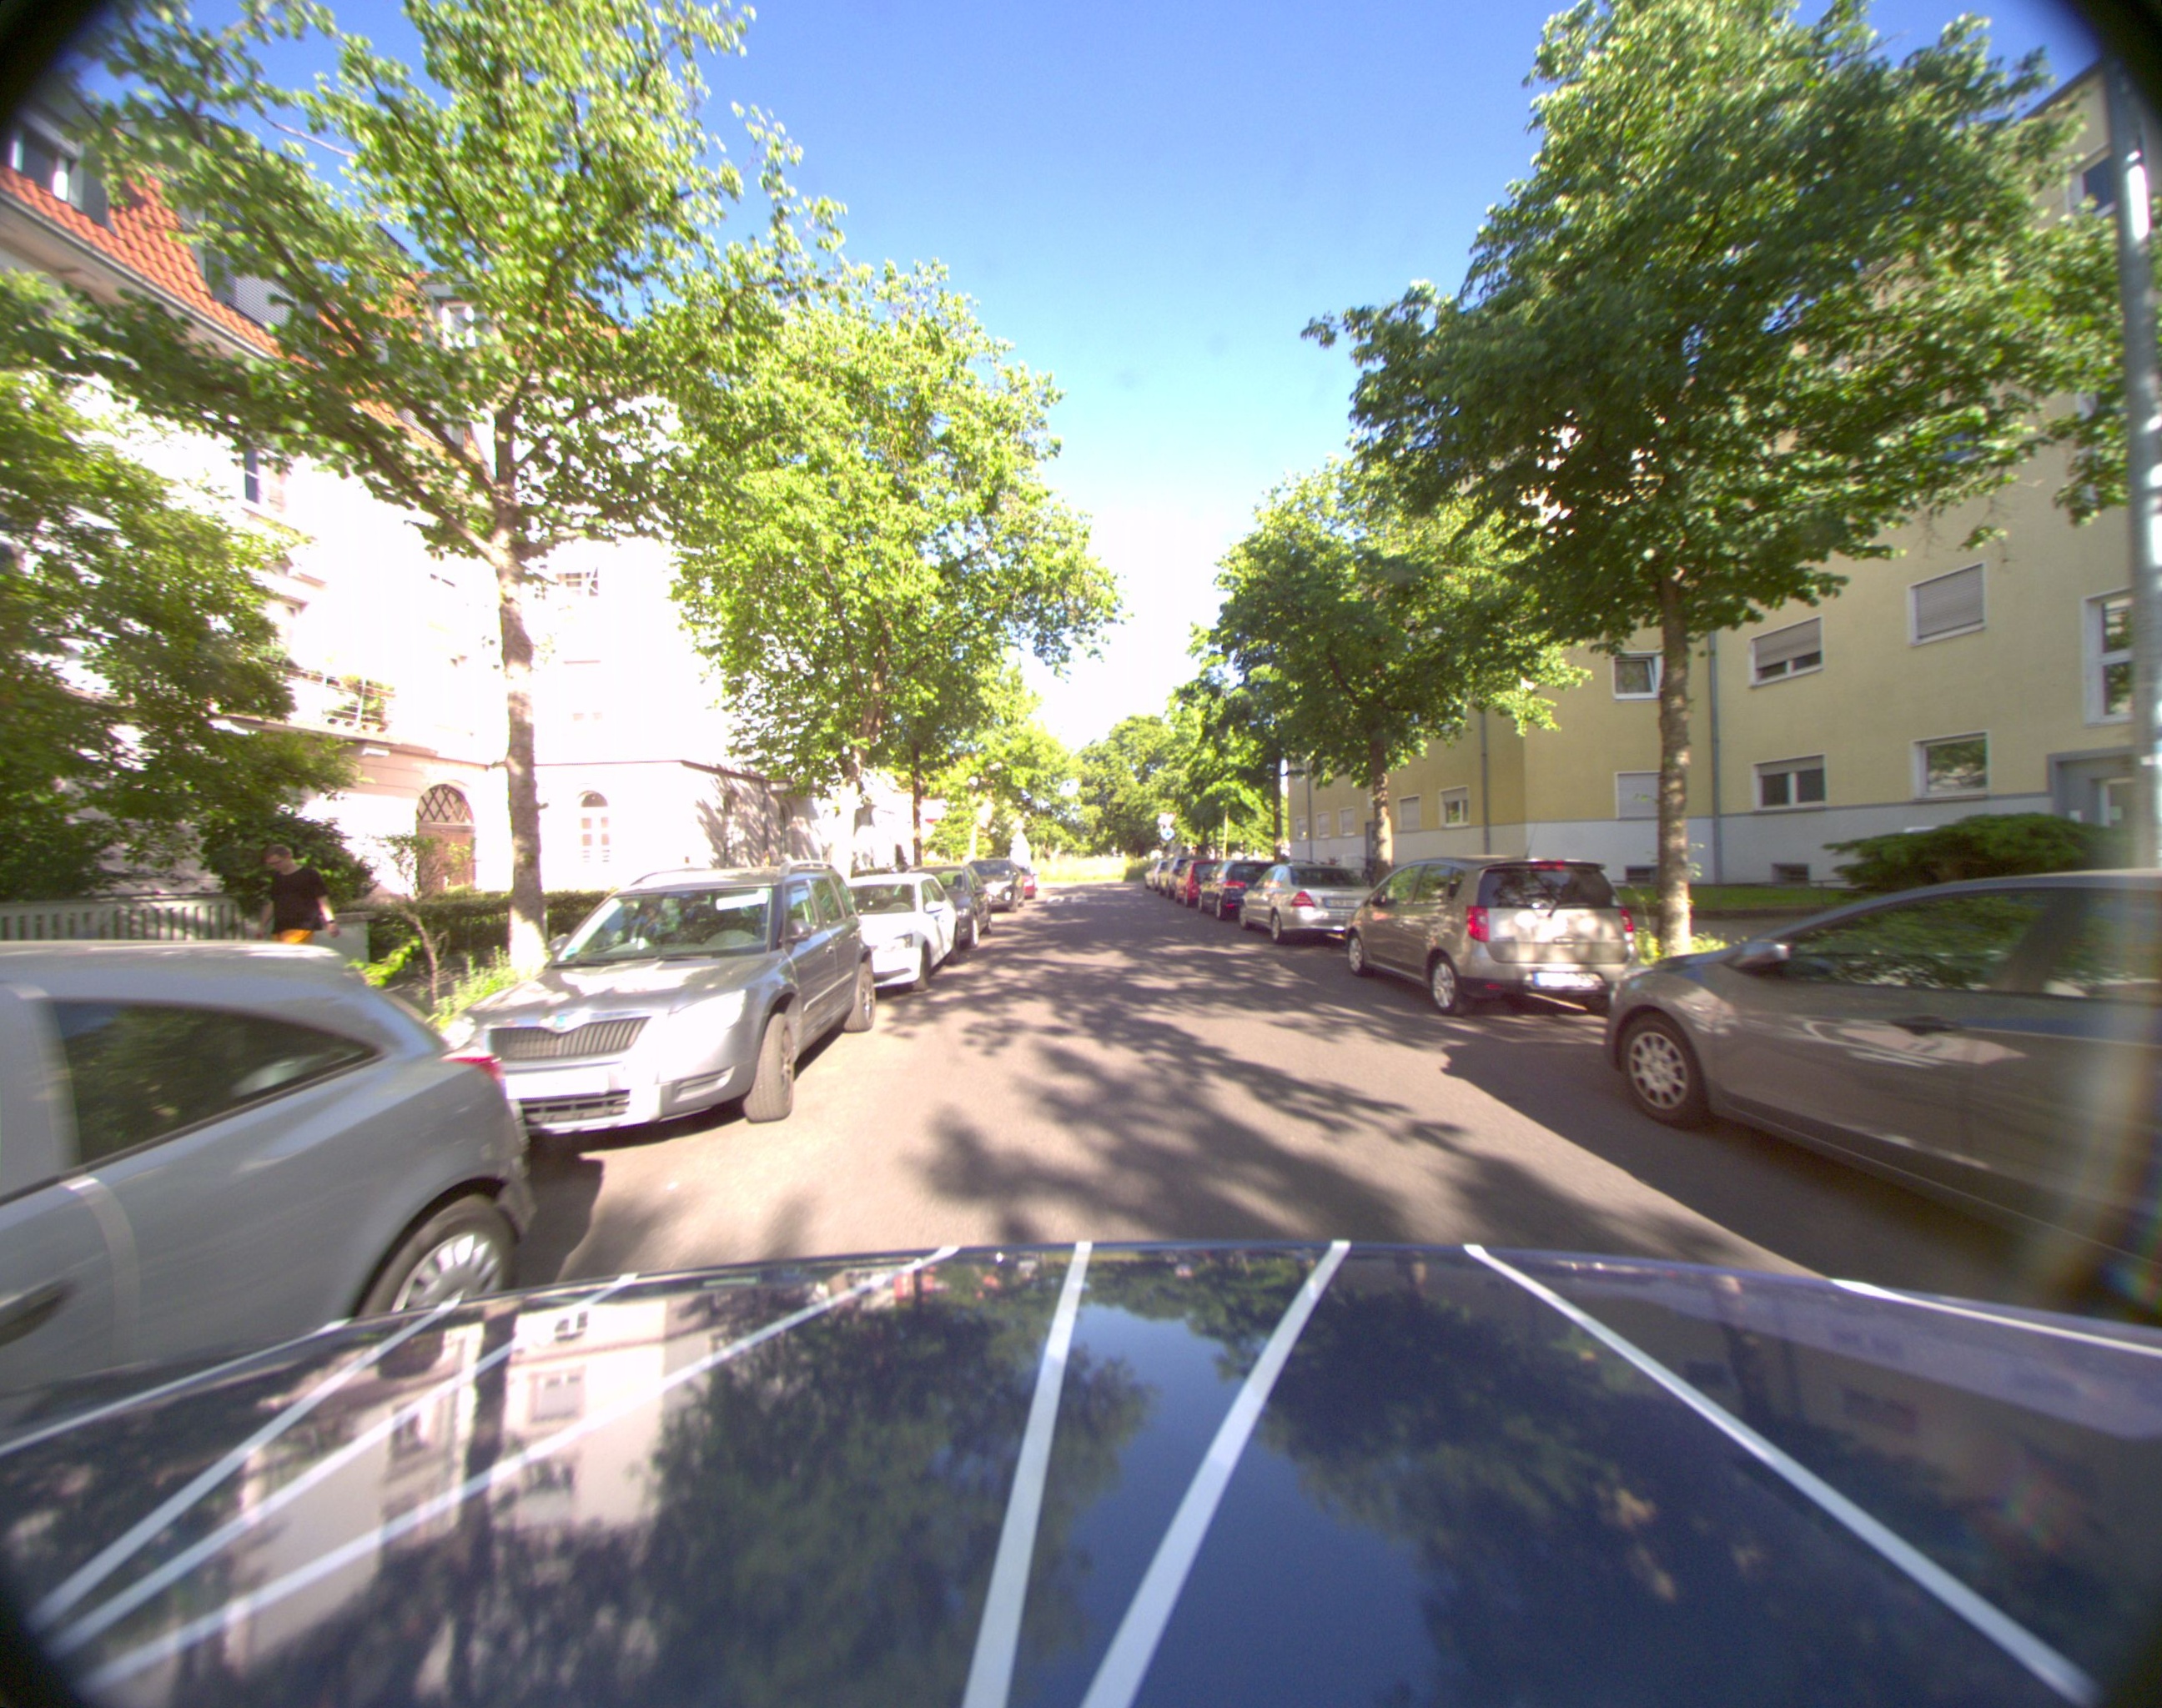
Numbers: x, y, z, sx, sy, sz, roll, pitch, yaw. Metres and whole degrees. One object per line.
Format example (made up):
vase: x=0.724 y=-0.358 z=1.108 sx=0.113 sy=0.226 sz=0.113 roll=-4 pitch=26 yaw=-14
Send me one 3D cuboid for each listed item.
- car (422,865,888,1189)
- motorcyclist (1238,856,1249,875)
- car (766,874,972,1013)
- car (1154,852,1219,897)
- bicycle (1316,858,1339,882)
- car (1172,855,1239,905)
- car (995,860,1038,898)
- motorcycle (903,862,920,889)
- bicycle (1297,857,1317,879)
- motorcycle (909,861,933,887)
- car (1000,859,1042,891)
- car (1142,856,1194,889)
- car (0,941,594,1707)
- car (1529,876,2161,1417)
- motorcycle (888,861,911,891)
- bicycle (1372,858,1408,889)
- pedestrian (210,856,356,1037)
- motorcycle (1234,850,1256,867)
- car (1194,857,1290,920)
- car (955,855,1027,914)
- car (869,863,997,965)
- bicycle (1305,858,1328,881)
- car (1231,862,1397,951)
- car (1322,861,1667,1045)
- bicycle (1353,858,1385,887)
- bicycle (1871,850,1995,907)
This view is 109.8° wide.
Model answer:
car: x=-2.805 y=0.969 z=6.081 sx=1.653 sy=1.646 sz=3.846 roll=-2 pitch=0 yaw=-3
motorcyclist: x=11.731 y=0.812 z=54.708 sx=0.521 sy=1.394 sz=0.553 roll=0 pitch=1 yaw=-40
car: x=-2.693 y=1.060 z=10.726 sx=1.634 sy=1.416 sz=4.368 roll=-1 pitch=0 yaw=0
car: x=3.998 y=0.753 z=29.493 sx=1.696 sy=1.556 sz=4.735 roll=-2 pitch=0 yaw=-2
bicycle: x=10.421 y=0.669 z=32.187 sx=0.516 sy=0.995 sz=1.545 roll=-2 pitch=0 yaw=4
car: x=4.005 y=0.797 z=24.910 sx=1.669 sy=1.477 sz=3.256 roll=-2 pitch=0 yaw=0
car: x=-2.643 y=1.000 z=31.682 sx=1.616 sy=1.401 sz=4.350 roll=-2 pitch=0 yaw=-4
motorcycle: x=-8.587 y=1.075 z=38.537 sx=0.658 sy=1.272 sz=1.799 roll=0 pitch=0 yaw=-6
bicycle: x=10.598 y=0.660 z=35.737 sx=0.435 sy=0.995 sz=1.681 roll=-2 pitch=0 yaw=1
motorcycle: x=-8.500 y=1.056 z=40.408 sx=0.973 sy=1.321 sz=1.852 roll=-2 pitch=0 yaw=-5
car: x=-2.833 y=0.980 z=36.519 sx=1.657 sy=1.394 sz=4.135 roll=-2 pitch=0 yaw=-1
car: x=4.052 y=0.831 z=35.914 sx=1.765 sy=1.433 sz=3.993 roll=-2 pitch=0 yaw=-3
car: x=-2.582 y=1.042 z=0.962 sx=1.653 sy=1.420 sz=3.612 roll=-1 pitch=0 yaw=-2
car: x=3.977 y=0.871 z=2.982 sx=1.796 sy=1.436 sz=4.688 roll=0 pitch=0 yaw=2
motorcycle: x=-8.631 y=1.032 z=36.176 sx=0.540 sy=1.353 sz=2.089 roll=-2 pitch=0 yaw=0
bicycle: x=10.653 y=0.666 z=26.242 sx=0.537 sy=1.021 sz=1.748 roll=-2 pitch=0 yaw=2
pedestrian: x=-8.208 y=0.913 z=7.856 sx=0.624 sy=1.764 sz=0.799 roll=-1 pitch=1 yaw=0
motorcycle: x=11.832 y=0.308 z=54.777 sx=1.635 sy=1.168 sz=0.553 roll=-2 pitch=1 yaw=-37
car: x=4.122 y=0.826 z=20.011 sx=1.669 sy=1.450 sz=3.932 roll=-2 pitch=0 yaw=0
car: x=-2.806 y=0.900 z=24.581 sx=1.785 sy=1.688 sz=4.297 roll=-1 pitch=0 yaw=0
car: x=-2.791 y=1.058 z=15.321 sx=1.688 sy=1.578 sz=4.535 roll=-4 pitch=0 yaw=-1
bicycle: x=10.487 y=0.667 z=33.854 sx=0.513 sy=0.995 sz=1.545 roll=-2 pitch=0 yaw=1
car: x=4.204 y=0.865 z=14.534 sx=1.750 sy=1.360 sz=4.674 roll=-1 pitch=0 yaw=0
car: x=4.185 y=0.858 z=8.596 sx=1.624 sy=1.506 sz=4.269 roll=1 pitch=0 yaw=1
bicycle: x=10.651 y=0.663 z=28.175 sx=0.541 sy=1.021 sz=1.748 roll=-2 pitch=0 yaw=2
bicycle: x=14.608 y=0.417 z=13.041 sx=1.637 sy=0.925 sz=0.481 roll=-1 pitch=0 yaw=-3
